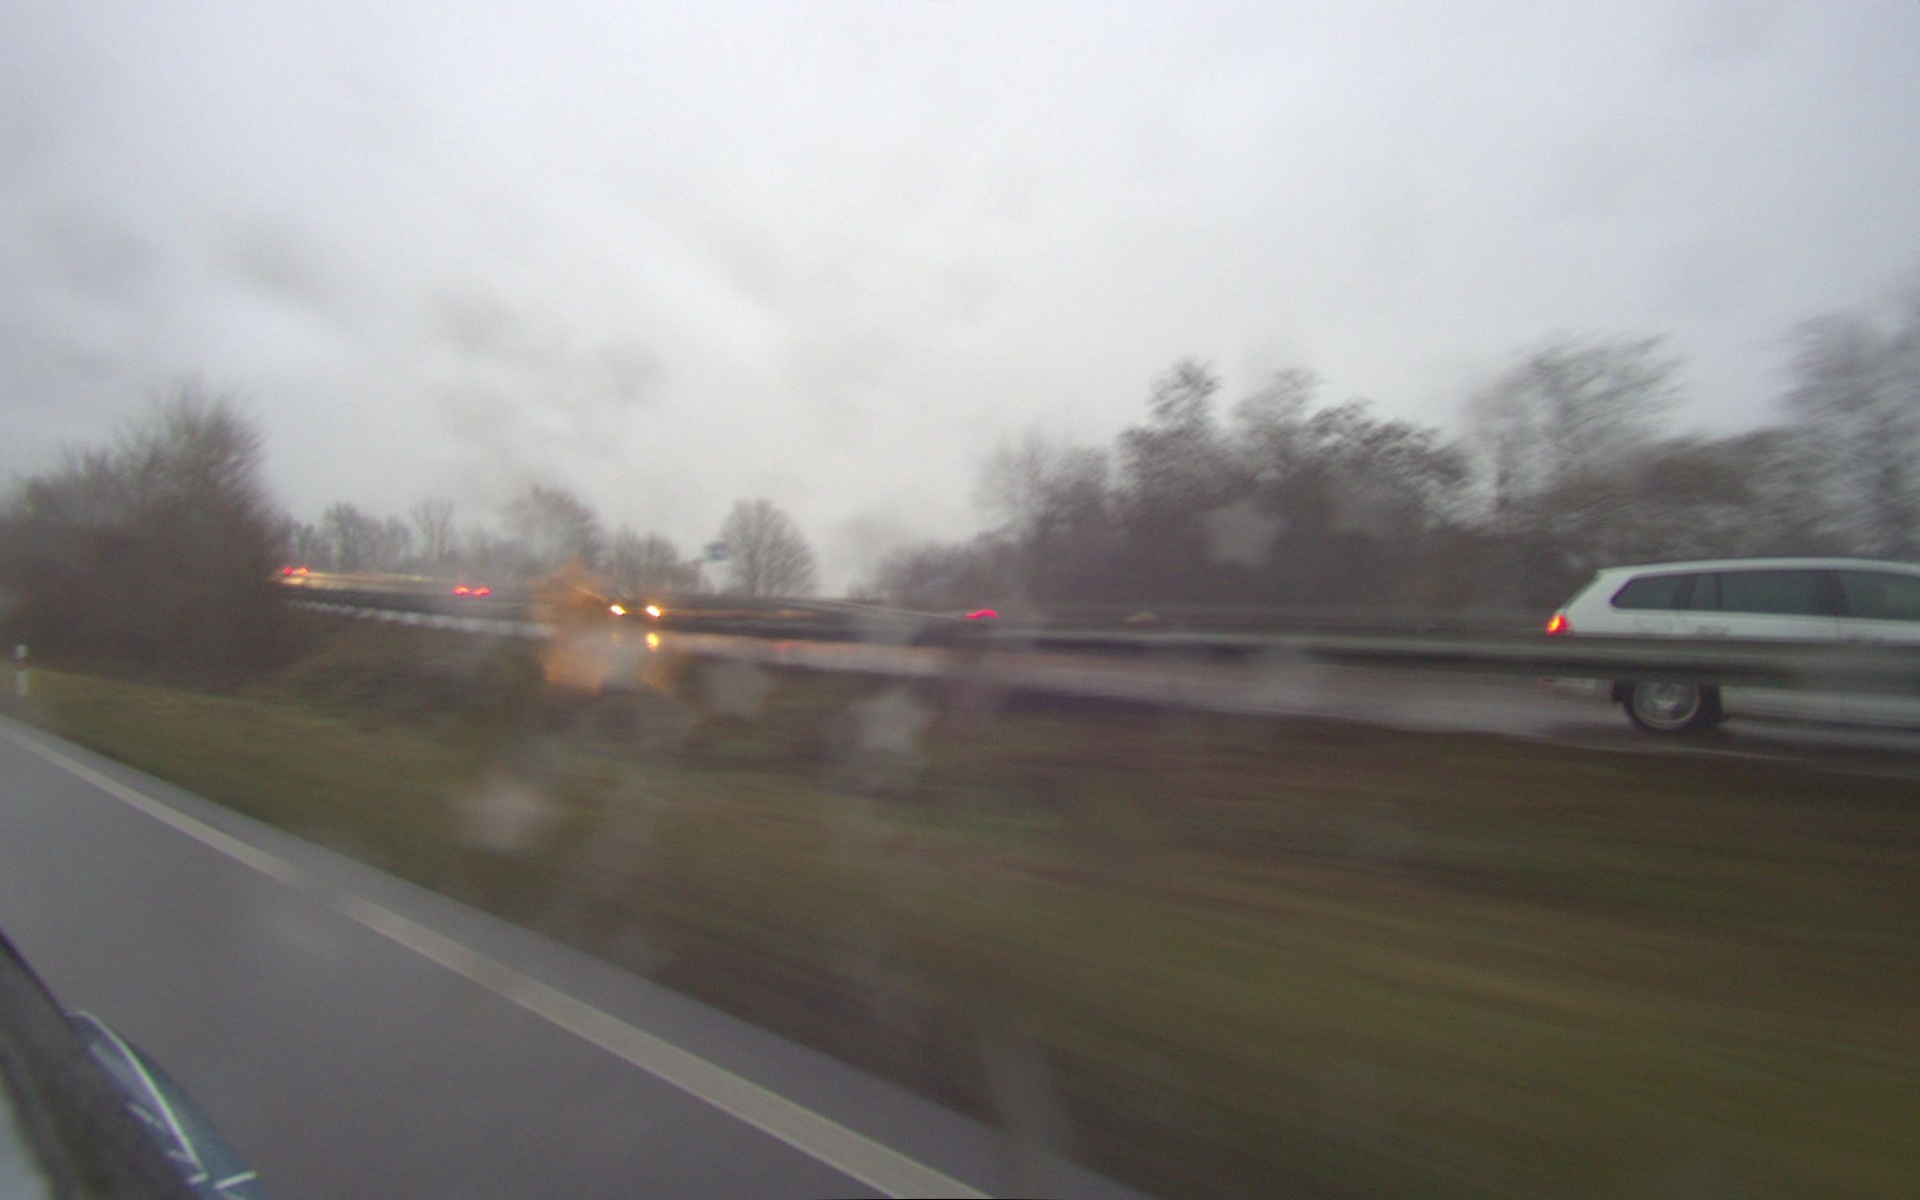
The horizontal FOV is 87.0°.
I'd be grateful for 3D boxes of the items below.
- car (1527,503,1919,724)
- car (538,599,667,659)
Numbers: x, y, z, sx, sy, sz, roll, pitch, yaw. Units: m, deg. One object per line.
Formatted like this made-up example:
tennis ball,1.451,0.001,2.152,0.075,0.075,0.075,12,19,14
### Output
car,7.284,0.127,7.746,1.924,1.532,4.792,3,-3,-43
car,-10.921,0.906,30.695,1.756,1.545,4.705,-6,2,-45
